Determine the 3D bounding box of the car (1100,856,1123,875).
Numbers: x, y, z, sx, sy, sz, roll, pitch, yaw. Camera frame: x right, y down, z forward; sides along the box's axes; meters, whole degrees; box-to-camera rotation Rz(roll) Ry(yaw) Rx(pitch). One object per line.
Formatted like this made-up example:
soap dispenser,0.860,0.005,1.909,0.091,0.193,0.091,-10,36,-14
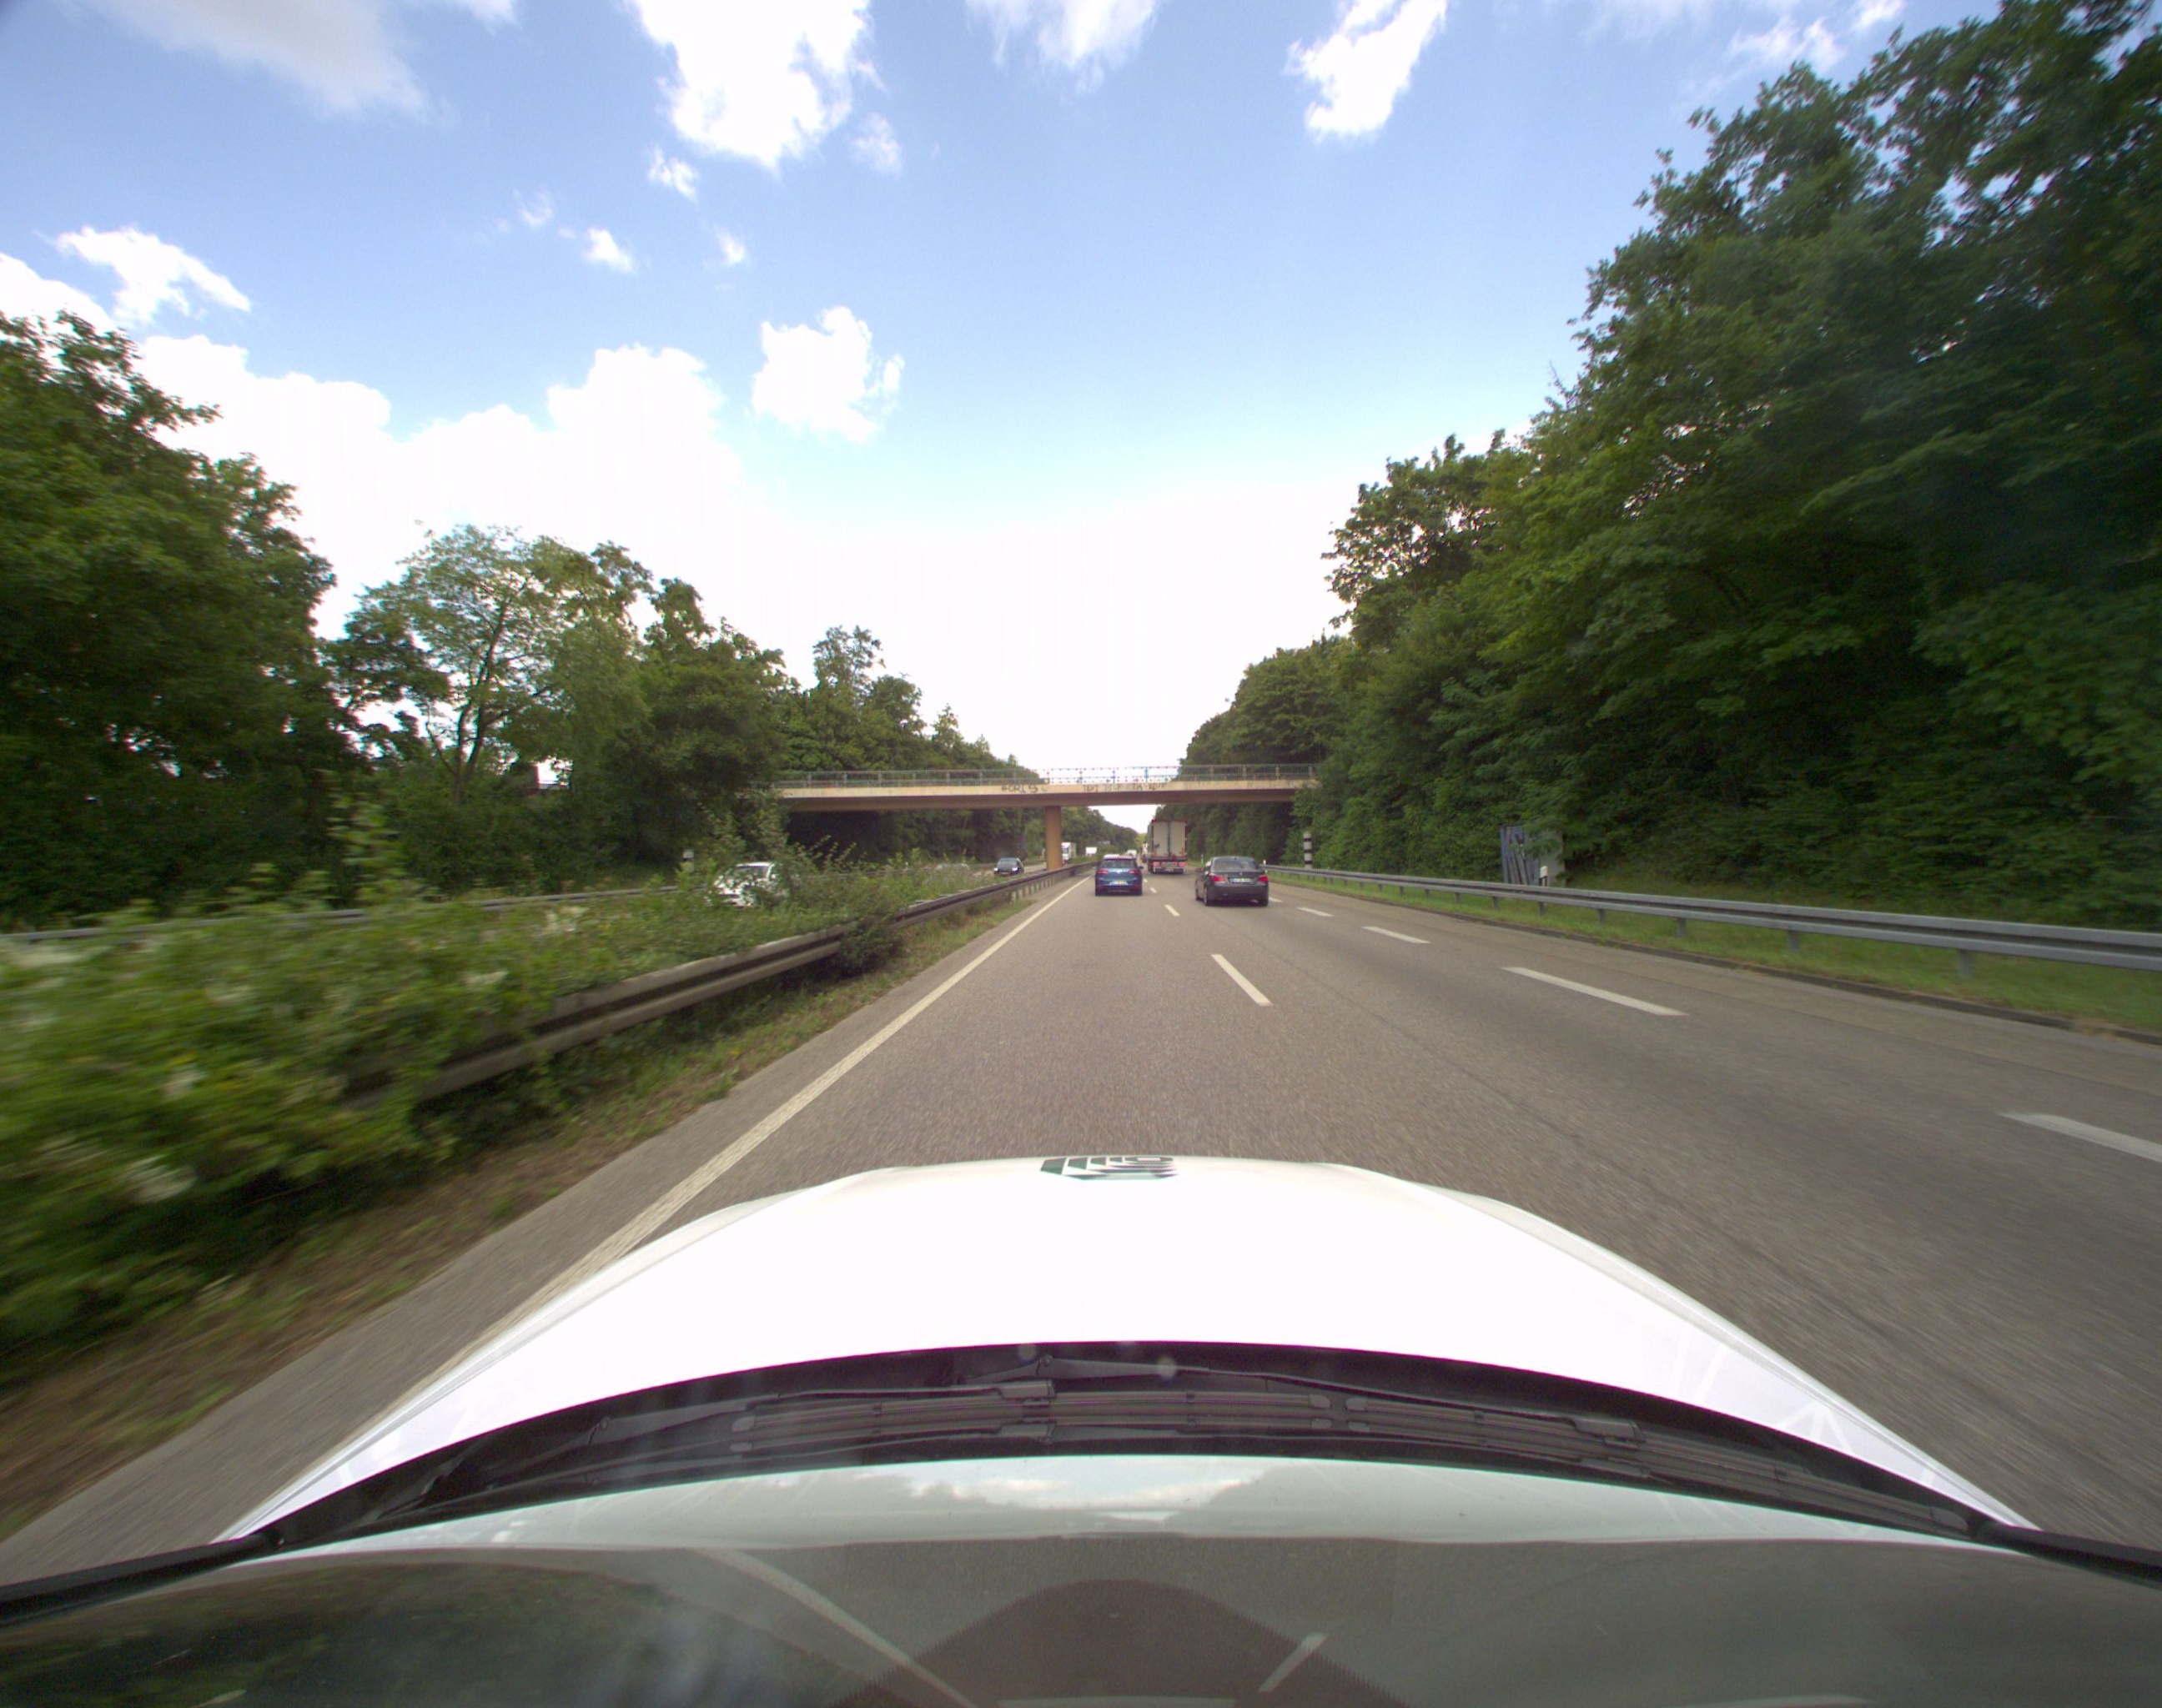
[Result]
car,2.490,0.891,65.350,1.658,1.500,4.157,0,0,4

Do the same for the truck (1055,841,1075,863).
truck,-3.050,-0.305,152.840,3.026,3.986,6.756,-1,0,4

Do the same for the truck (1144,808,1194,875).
truck,6.757,-0.923,64.197,3.229,4.716,11.014,-2,0,3

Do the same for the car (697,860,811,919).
car,-10.962,1.126,27.726,1.779,1.738,4.882,-2,0,1

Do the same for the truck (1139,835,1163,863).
truck,11.724,-0.738,138.121,3.220,4.386,12.973,0,-1,2

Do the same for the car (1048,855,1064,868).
car,-3.114,0.924,101.176,1.679,1.476,4.439,-2,0,2

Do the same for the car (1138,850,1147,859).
car,15.379,0.098,203.036,1.986,2.327,4.443,-2,0,1

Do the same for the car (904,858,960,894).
car,-7.253,1.024,40.095,1.814,1.587,4.141,-2,0,2

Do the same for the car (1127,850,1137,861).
car,11.092,0.260,177.461,1.986,2.255,4.443,-1,0,1

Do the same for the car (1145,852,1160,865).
car,9.712,0.582,111.128,1.880,1.729,4.005,-2,0,4

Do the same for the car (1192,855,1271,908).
car,4.502,0.759,25.014,1.767,1.475,4.884,0,0,3

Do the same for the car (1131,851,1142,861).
car,10.592,0.369,155.330,1.944,1.855,4.006,-2,0,5

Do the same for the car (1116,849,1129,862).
car,6.747,0.189,131.737,1.944,2.013,4.006,-2,0,5

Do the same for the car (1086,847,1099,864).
car,2.347,0.314,166.064,2.278,3.232,7.292,-2,0,3

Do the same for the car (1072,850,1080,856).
car,-1.340,-0.260,210.047,1.820,1.661,4.600,0,0,4

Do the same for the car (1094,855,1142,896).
car,1.445,0.784,31.078,1.698,1.470,4.004,0,0,3

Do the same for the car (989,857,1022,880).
car,-5.601,1.052,60.974,1.858,1.589,4.567,-2,0,2
